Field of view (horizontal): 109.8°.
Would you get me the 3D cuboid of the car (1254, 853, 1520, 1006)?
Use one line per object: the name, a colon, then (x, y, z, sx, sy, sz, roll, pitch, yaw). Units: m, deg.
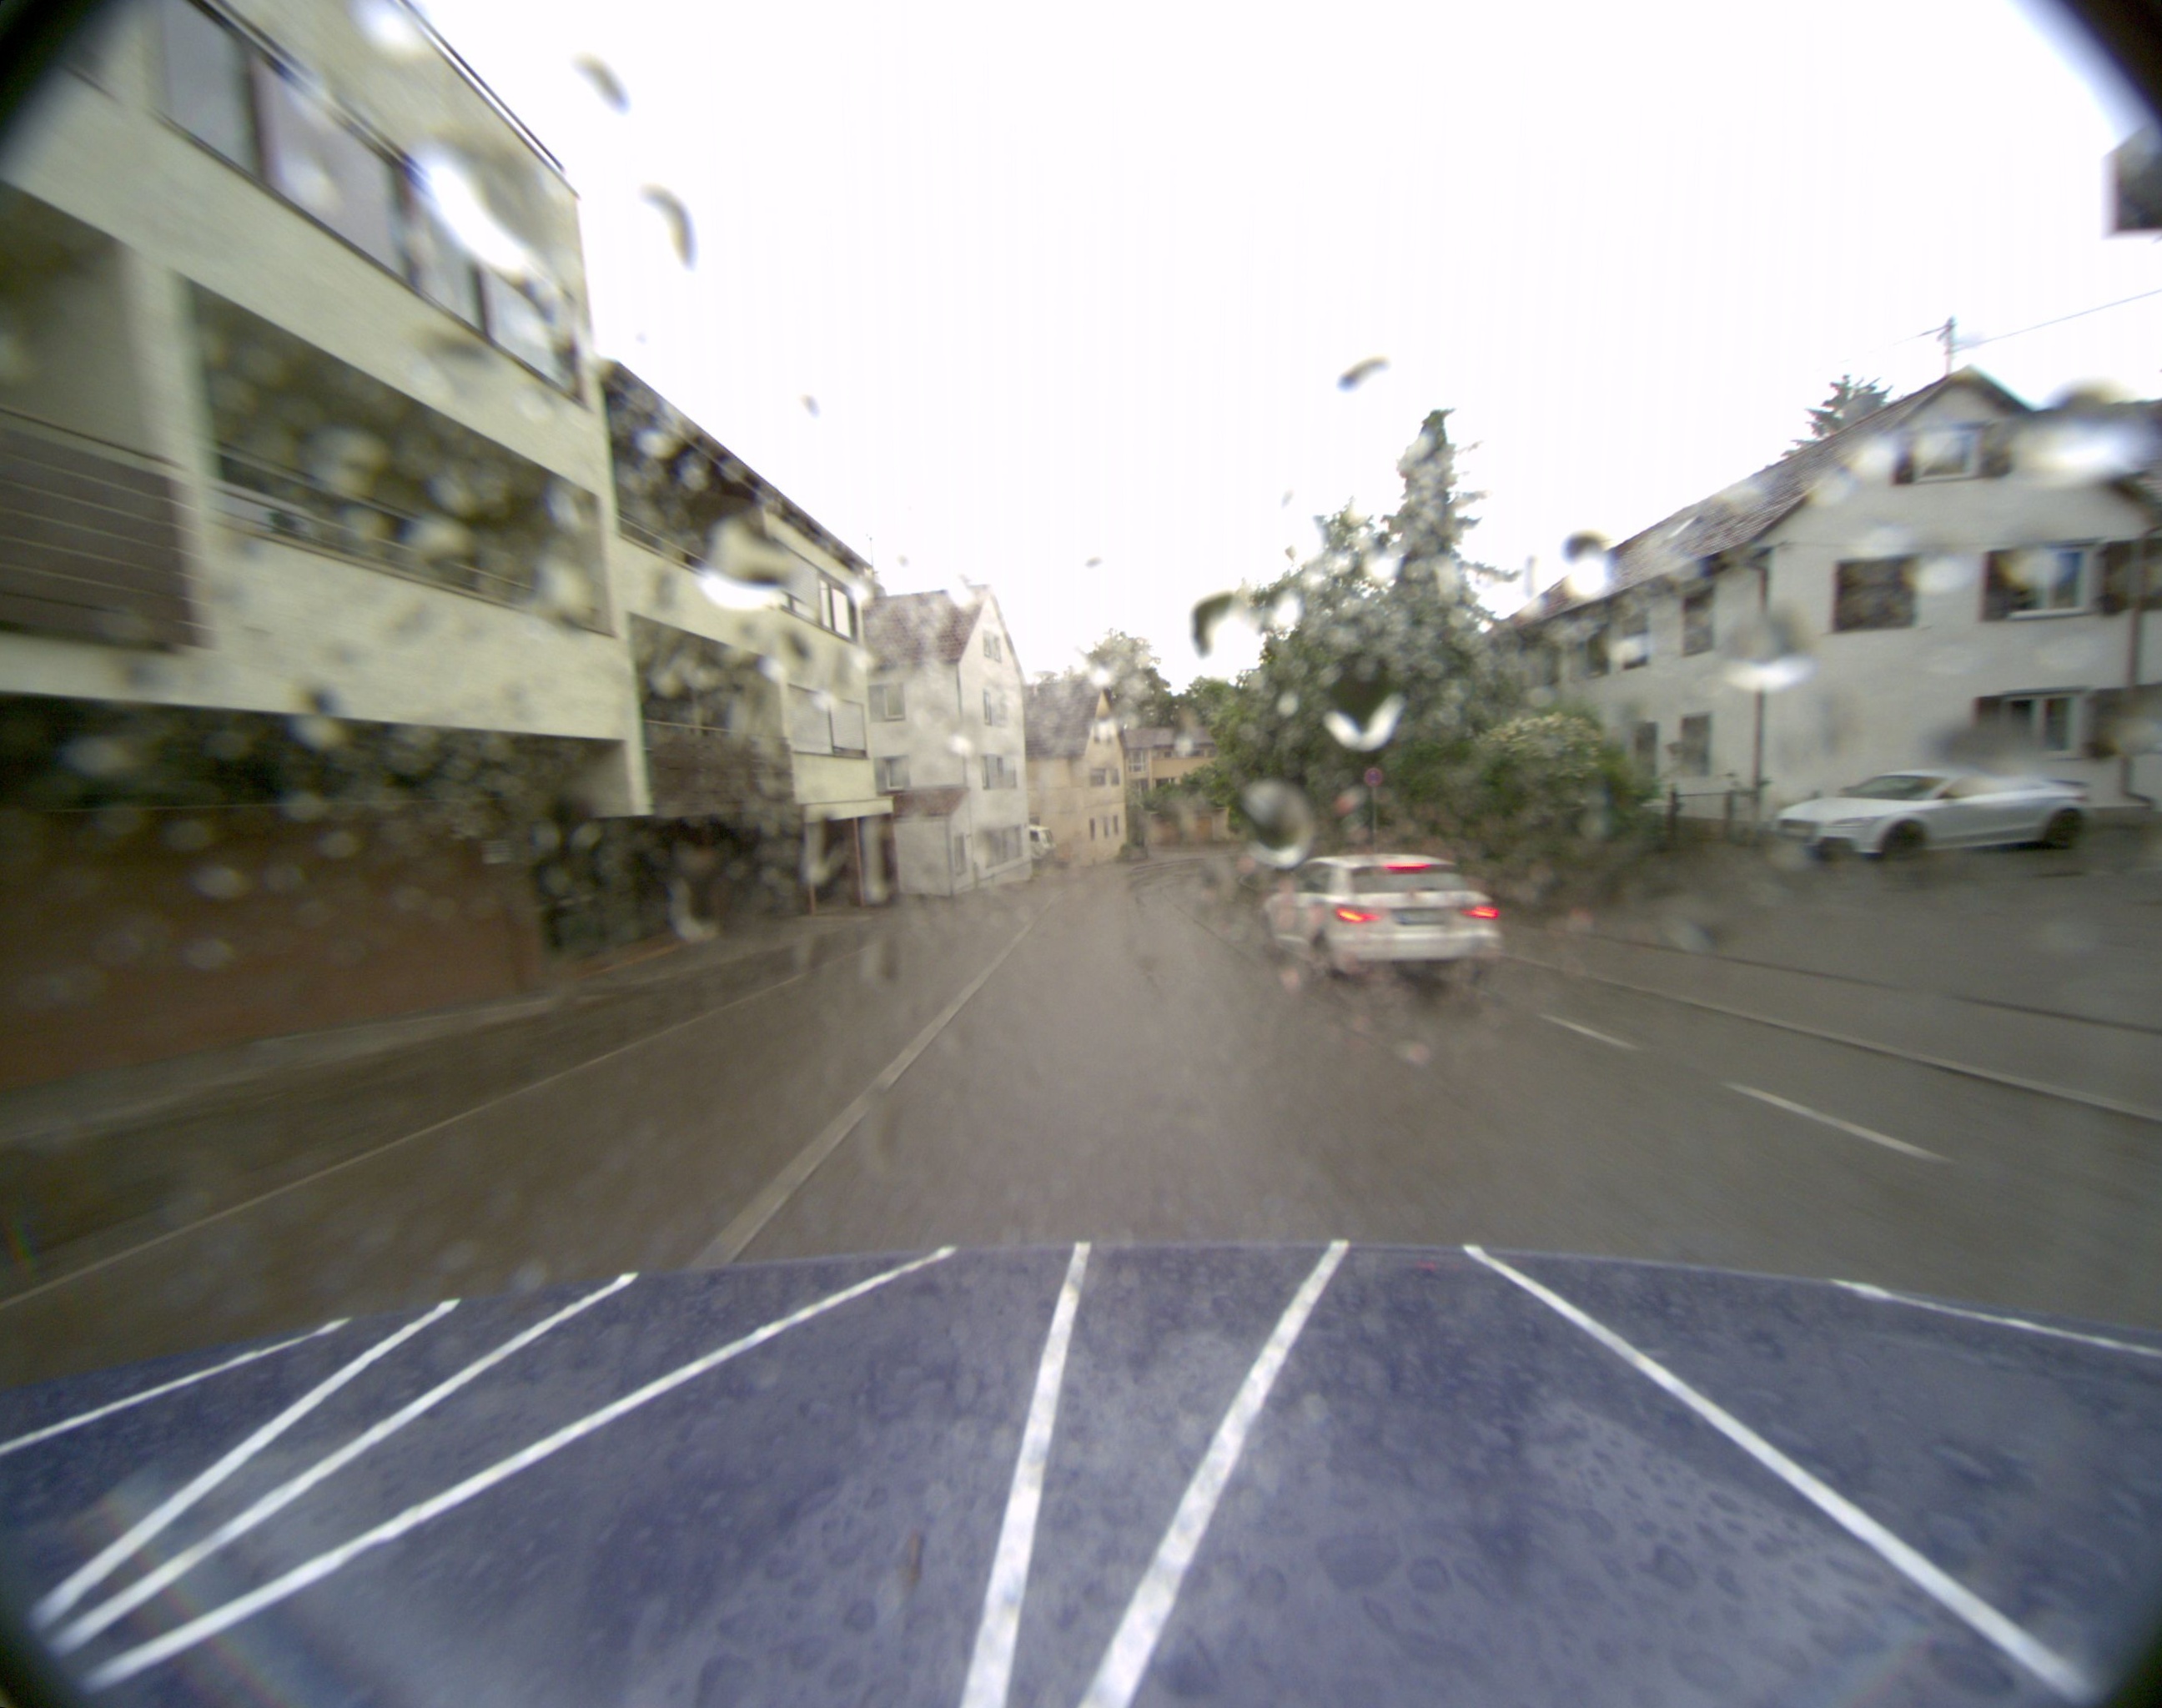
car: (3.362, 0.716, 9.221, 1.707, 1.380, 4.050, -1, 1, 2)

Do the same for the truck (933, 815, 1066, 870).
truck: (-4.534, -0.699, 42.381, 6.964, 2.688, 2.142, 3, 3, 16)

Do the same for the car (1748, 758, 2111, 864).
car: (14.096, -0.715, 12.846, 3.996, 1.500, 1.803, -2, 3, 3)
